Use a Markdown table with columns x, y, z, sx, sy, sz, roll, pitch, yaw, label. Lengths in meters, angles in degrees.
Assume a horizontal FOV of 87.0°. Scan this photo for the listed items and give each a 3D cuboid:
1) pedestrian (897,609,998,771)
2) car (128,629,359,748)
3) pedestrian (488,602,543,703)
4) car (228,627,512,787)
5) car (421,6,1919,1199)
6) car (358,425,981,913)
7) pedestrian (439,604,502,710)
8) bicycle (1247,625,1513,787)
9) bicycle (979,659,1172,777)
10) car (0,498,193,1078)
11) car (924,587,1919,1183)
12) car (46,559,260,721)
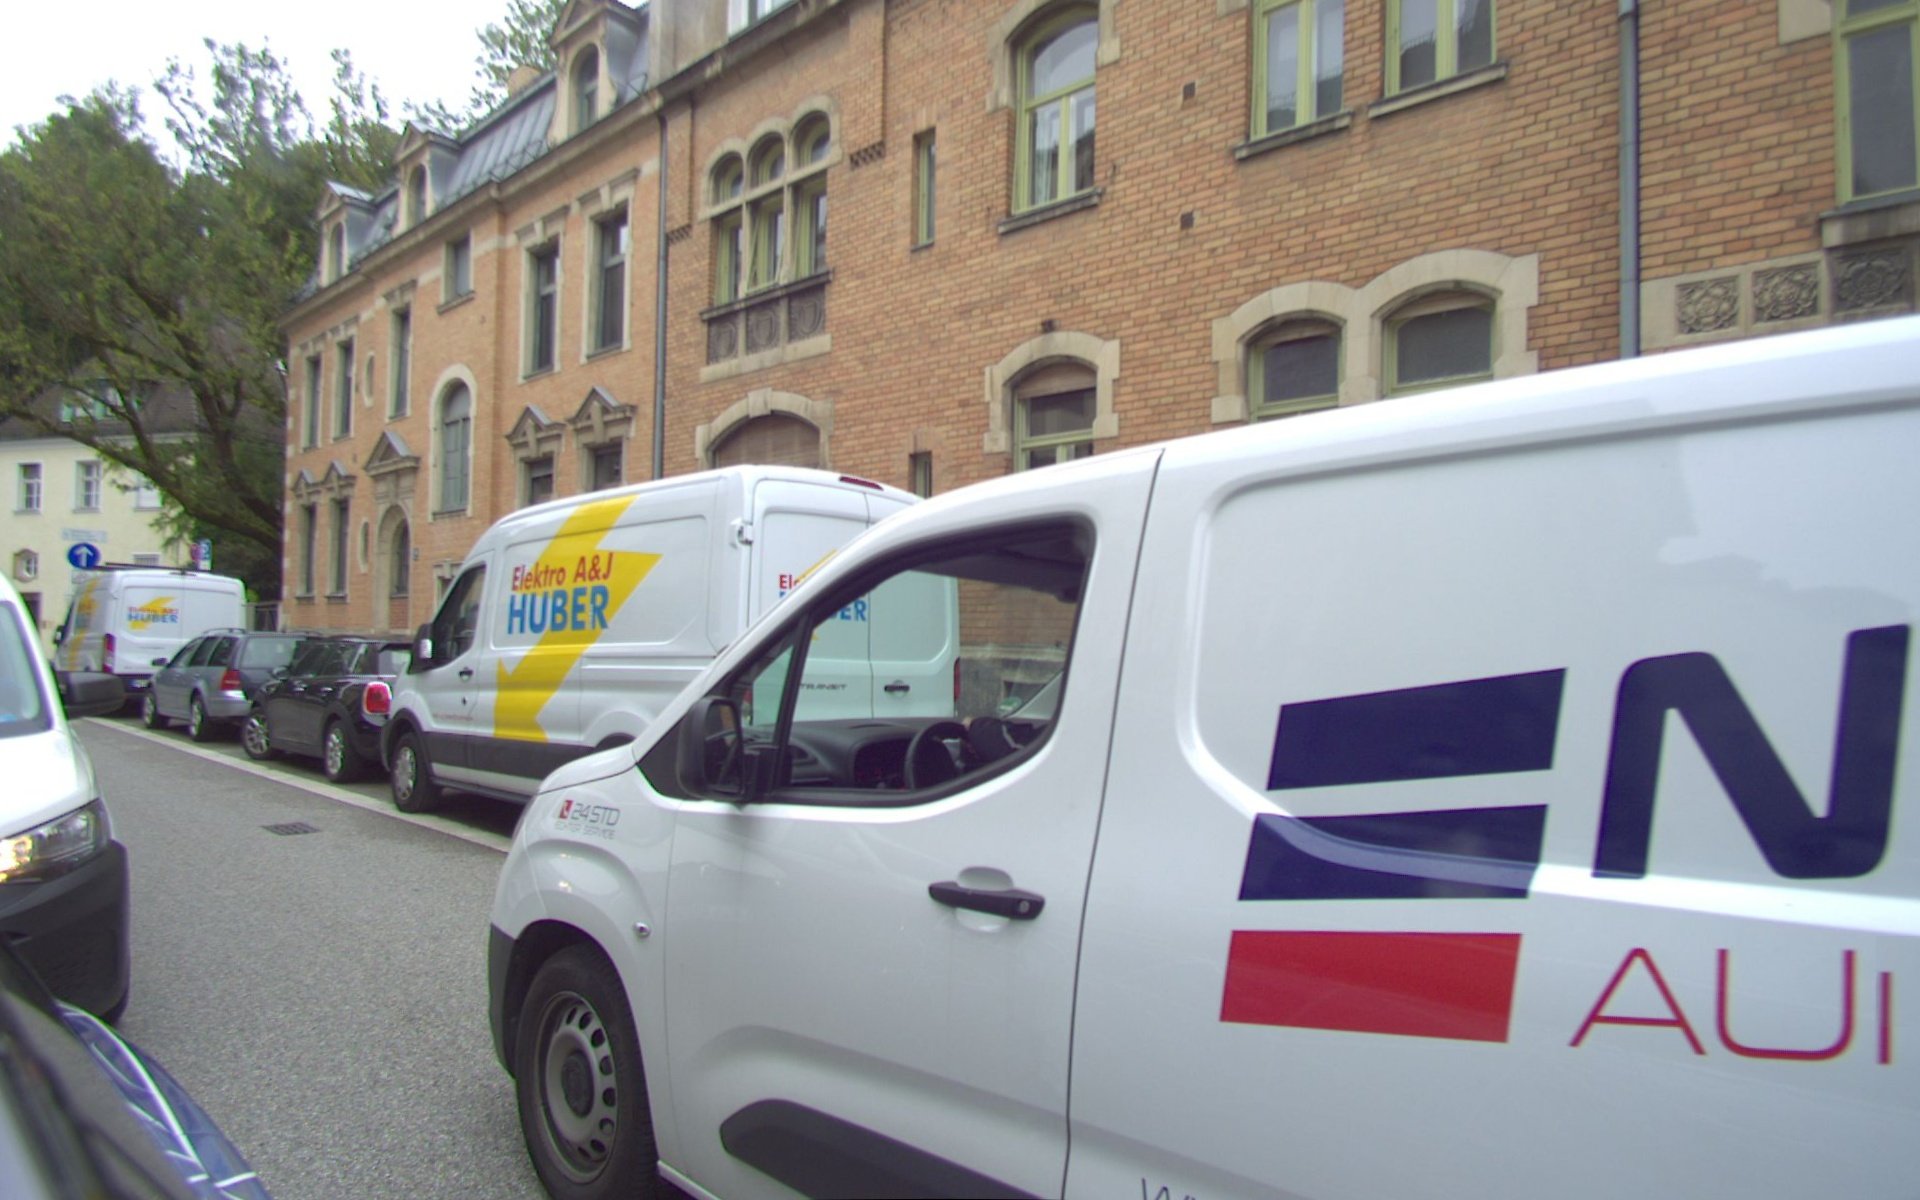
| x | y | z | sx | sy | sz | roll | pitch | yaw | label |
| --- | --- | --- | --- | --- | --- | --- | --- | --- | --- |
| -0.123 | 0.855 | 10.085 | 0.728 | 1.524 | 0.688 | -1 | 0 | 44 | pedestrian |
| -10.243 | 1.181 | 14.368 | 3.981 | 1.454 | 1.673 | -2 | -5 | 40 | car |
| -7.414 | 0.870 | 16.883 | 0.467 | 1.645 | 0.625 | -1 | -4 | 41 | pedestrian |
| -6.481 | 1.061 | 10.990 | 3.538 | 1.454 | 1.507 | -2 | -5 | 40 | car |
| 0.746 | 0.453 | 2.052 | 4.571 | 1.817 | 1.752 | -1 | -3 | 42 | car |
| -2.479 | 0.431 | 7.653 | 5.220 | 2.497 | 1.960 | -1 | -4 | 41 | car |
| -7.811 | 0.903 | 16.156 | 0.675 | 1.645 | 0.625 | -1 | -4 | 41 | pedestrian |
| 3.258 | 0.767 | 7.970 | 1.827 | 1.137 | 0.624 | -1 | -2 | 42 | bicycle |
| 1.082 | 1.105 | 9.878 | 1.923 | 0.993 | 0.496 | -2 | -1 | 42 | bicycle |
| -4.733 | 0.594 | 4.132 | 3.998 | 1.785 | 1.753 | -1 | -3 | 41 | car |
| 1.964 | 0.763 | 3.931 | 4.142 | 1.454 | 1.672 | -1 | -4 | 40 | car |
| -14.552 | 0.764 | 18.174 | 4.418 | 2.560 | 2.091 | -2 | -6 | 41 | car |
